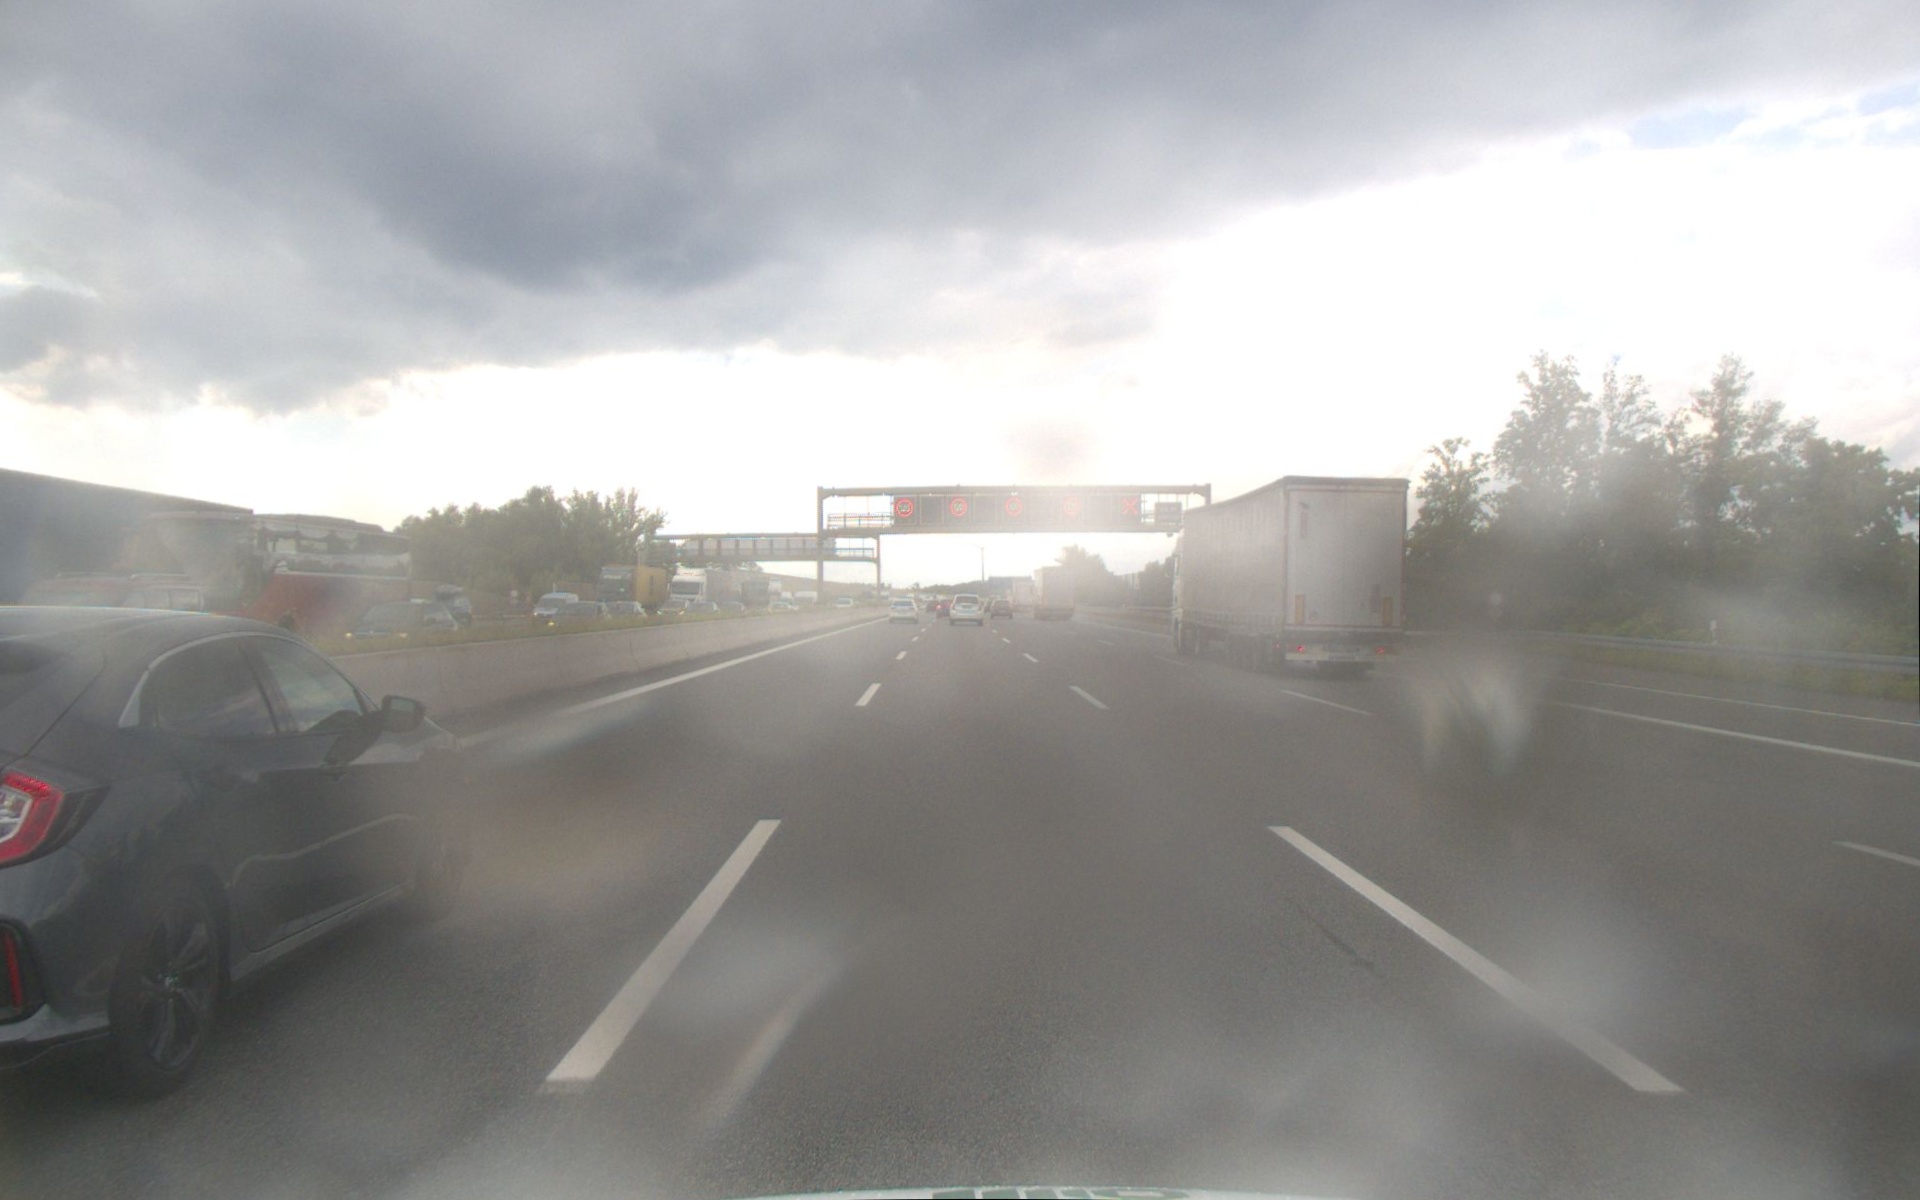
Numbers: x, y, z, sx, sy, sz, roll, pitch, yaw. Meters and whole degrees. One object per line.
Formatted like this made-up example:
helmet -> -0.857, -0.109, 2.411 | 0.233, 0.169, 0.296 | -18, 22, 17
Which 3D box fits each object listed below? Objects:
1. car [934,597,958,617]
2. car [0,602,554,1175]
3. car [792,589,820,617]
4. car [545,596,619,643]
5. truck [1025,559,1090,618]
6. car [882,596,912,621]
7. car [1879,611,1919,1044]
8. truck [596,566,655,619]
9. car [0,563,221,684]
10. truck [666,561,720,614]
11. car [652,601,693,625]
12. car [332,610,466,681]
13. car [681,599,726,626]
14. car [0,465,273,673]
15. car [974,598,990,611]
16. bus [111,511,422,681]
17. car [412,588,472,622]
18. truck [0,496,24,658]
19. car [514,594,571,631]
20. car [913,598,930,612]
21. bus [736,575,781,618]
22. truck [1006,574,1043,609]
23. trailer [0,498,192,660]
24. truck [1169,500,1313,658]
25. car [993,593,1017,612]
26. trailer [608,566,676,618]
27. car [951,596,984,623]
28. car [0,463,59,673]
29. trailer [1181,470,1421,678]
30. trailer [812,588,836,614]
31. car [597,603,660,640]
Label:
car -> -1.070, 0.501, 123.748 | 1.737, 1.466, 4.054 | 1, 0, -2
car -> -3.115, 0.736, 6.710 | 1.725, 1.393, 5.059 | 1, 0, -1
car -> -14.039, 0.251, 150.684 | 2.093, 2.393, 5.709 | 1, 0, -1
car -> -13.212, 0.667, 58.085 | 1.681, 1.550, 4.212 | 1, 0, -1
truck -> 7.603, -0.897, 131.565 | 4.095, 4.363, 12.610 | 1, 0, -1
car -> -3.783, 0.500, 100.047 | 1.736, 1.466, 3.872 | 1, 0, -2
car -> 4.010, 0.782, 4.290 | 1.418, 1.466, 3.162 | 1, 0, -2
truck -> -25.923, -0.578, 128.499 | 2.967, 4.002, 7.710 | 0, 0, 1
car -> -13.350, 0.324, 25.802 | 1.751, 1.695, 4.295 | 1, 0, -1
truck -> -21.187, -0.965, 131.672 | 2.826, 4.031, 7.537 | 1, 0, 1
car -> -17.822, 0.778, 102.673 | 1.751, 1.406, 4.859 | 1, 0, -1
car -> -13.509, 1.056, 40.124 | 1.751, 1.560, 4.564 | 1, 0, -1
car -> -13.958, 0.656, 90.104 | 1.751, 1.406, 4.859 | 1, 0, -1
car -> -20.939, -0.667, 39.901 | 2.922, 4.196, 14.391 | 1, 0, -1
car -> 2.502, 0.470, 190.831 | 1.798, 1.466, 4.055 | 1, 0, 0
bus -> -17.351, -0.106, 42.830 | 2.831, 3.674, 12.756 | 1, 0, -1
car -> -25.594, 0.227, 81.884 | 1.751, 1.625, 3.954 | 1, 0, -1
truck -> -26.128, -0.616, 40.336 | 2.841, 4.188, 6.621 | 1, 0, -1
car -> -20.912, 0.618, 83.029 | 1.754, 1.770, 4.577 | 1, 0, -1
car -> -4.190, 0.498, 179.847 | 1.737, 1.466, 4.053 | 1, 0, -2
bus -> -18.003, -0.270, 148.329 | 2.599, 3.744, 10.634 | 0, 0, 1
truck -> 8.218, -1.022, 211.634 | 4.157, 4.249, 11.988 | 1, 0, 0
trailer -> -26.278, -0.577, 47.346 | 2.841, 4.188, 12.695 | 1, 0, -1
truck -> 7.750, -0.576, 46.452 | 2.900, 4.090, 6.588 | 1, 0, 0
car -> 3.601, 0.159, 133.721 | 1.798, 1.466, 4.055 | 1, 0, 0
trailer -> -25.843, -0.595, 135.197 | 2.967, 4.002, 12.974 | 0, 0, 1
car -> 0.397, 0.517, 95.411 | 1.737, 1.466, 4.054 | 1, 0, -2
car -> -20.802, -0.677, 32.440 | 2.922, 4.222, 6.041 | 1, 0, -1
trailer -> 7.738, -0.567, 40.030 | 2.900, 4.090, 14.118 | 1, 0, 0
trailer -> -16.979, 0.137, 206.742 | 2.399, 3.193, 6.051 | 0, 0, 1
car -> -13.729, 0.864, 68.691 | 1.681, 1.451, 4.859 | 1, 0, -1
